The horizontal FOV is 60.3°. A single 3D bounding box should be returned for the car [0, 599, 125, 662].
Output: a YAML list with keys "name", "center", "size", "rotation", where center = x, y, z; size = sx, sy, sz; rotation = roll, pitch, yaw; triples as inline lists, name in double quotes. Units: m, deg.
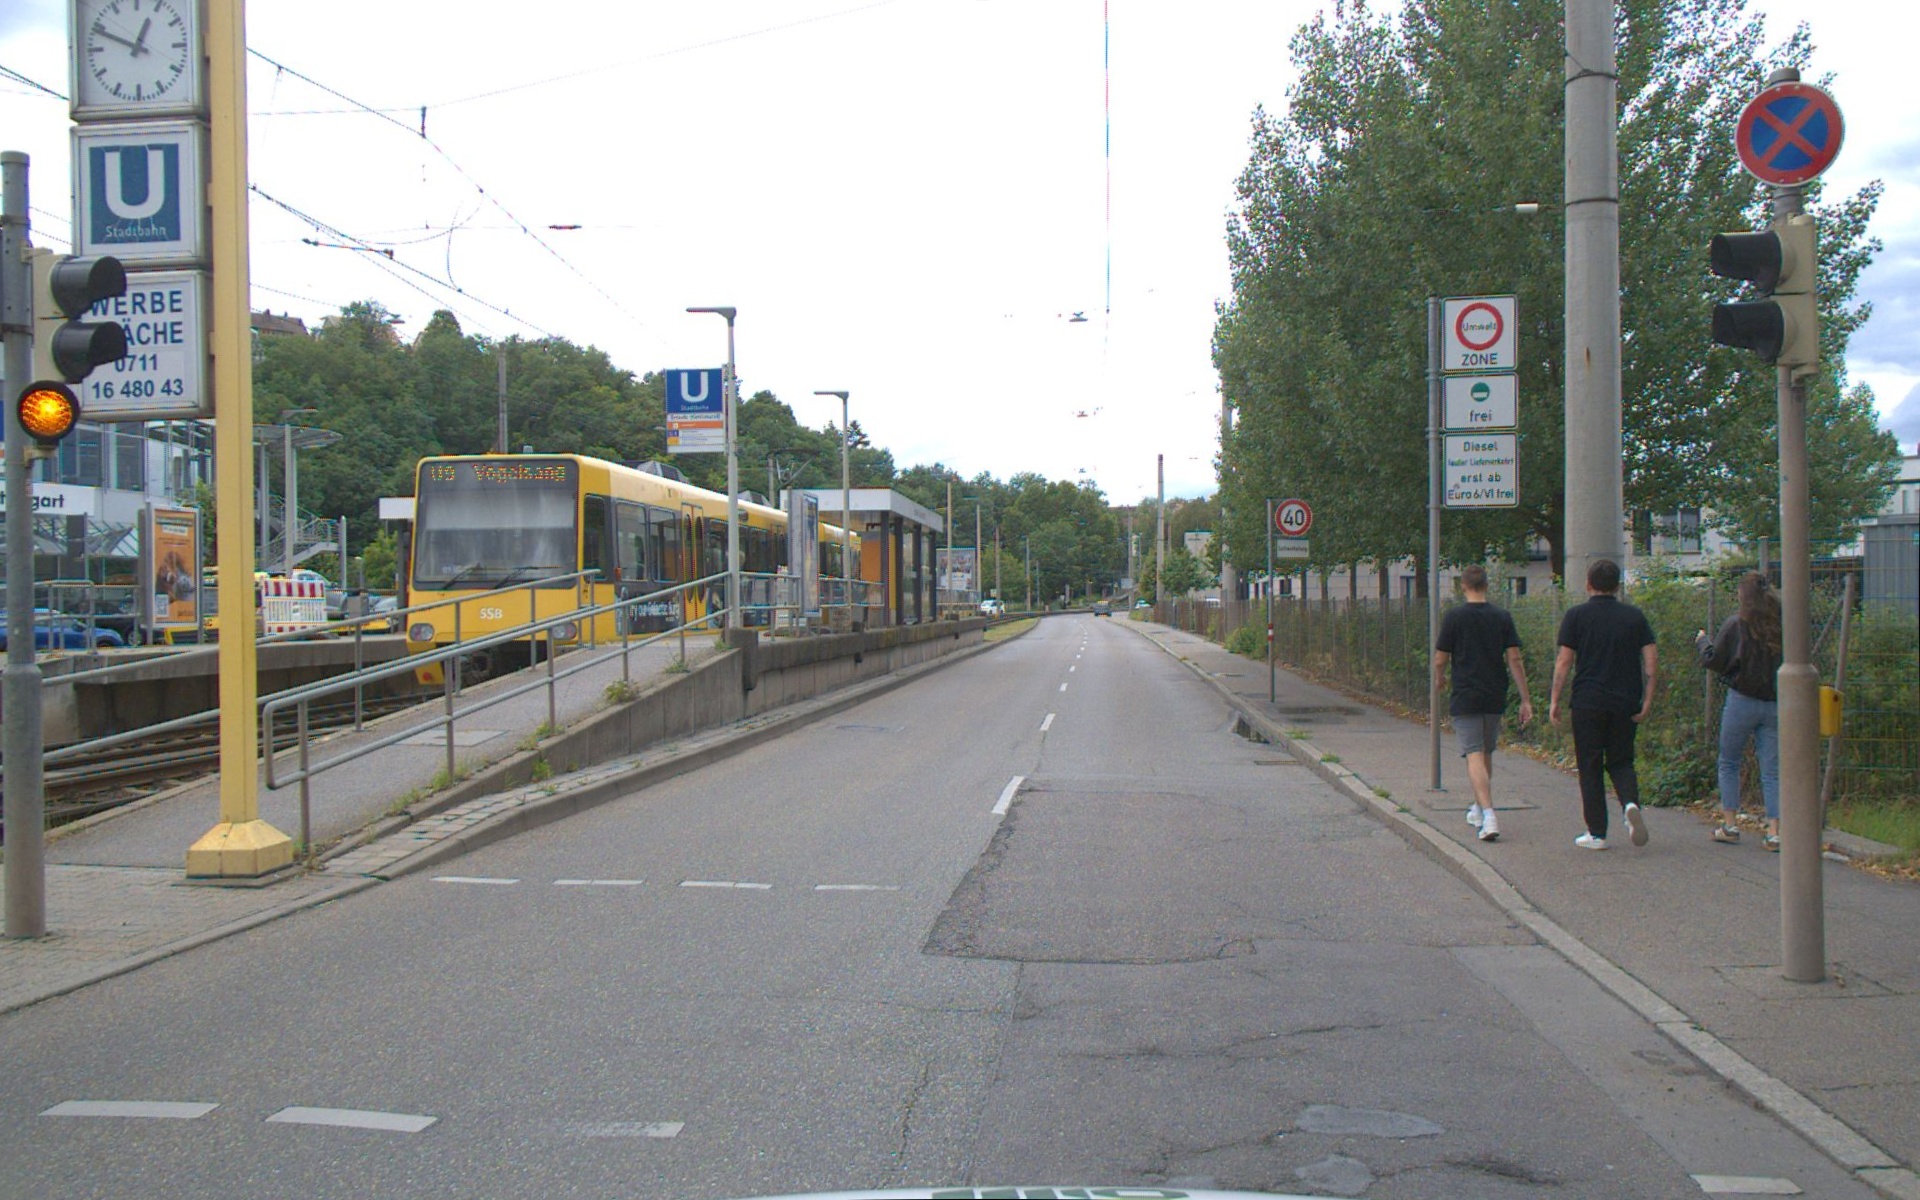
- name: "car"
  center: [-25.744, 0.867, 46.190]
  size: [3.902, 1.582, 1.928]
  rotation: [-1, -4, 9]

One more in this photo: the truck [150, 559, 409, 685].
- name: "truck"
  center: [-18.704, 0.583, 46.259]
  size: [2.637, 3.132, 9.013]
  rotation: [-1, 0, 6]

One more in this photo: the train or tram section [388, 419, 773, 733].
- name: "train or tram section"
  center: [-5.623, -0.364, 27.478]
  size: [2.683, 4.036, 11.919]
  rotation: [-1, 1, 5]

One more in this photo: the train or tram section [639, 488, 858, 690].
- name: "train or tram section"
  center: [-4.657, -0.280, 39.386]
  size: [2.683, 4.036, 11.919]
  rotation: [-1, 1, 5]

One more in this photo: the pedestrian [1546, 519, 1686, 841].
- name: "pedestrian"
  center: [4.006, 0.482, 10.140]
  size: [0.589, 1.900, 0.672]
  rotation: [-1, -1, 6]

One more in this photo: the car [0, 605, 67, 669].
- name: "car"
  center: [-26.306, 1.029, 44.191]
  size: [3.902, 1.582, 1.928]
  rotation: [-1, -4, 9]

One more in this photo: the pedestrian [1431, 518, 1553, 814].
- name: "pedestrian"
  center: [3.528, 0.447, 11.021]
  size: [0.589, 1.900, 0.672]
  rotation: [-1, -4, 6]

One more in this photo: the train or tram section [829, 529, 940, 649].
- name: "train or tram section"
  center: [-2.715, -0.434, 63.235]
  size: [2.909, 4.136, 10.202]
  rotation: [-1, 0, 5]

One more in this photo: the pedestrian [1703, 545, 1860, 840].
- name: "pedestrian"
  center: [4.975, 0.562, 10.058]
  size: [0.589, 1.719, 0.672]
  rotation: [-1, -4, 6]
